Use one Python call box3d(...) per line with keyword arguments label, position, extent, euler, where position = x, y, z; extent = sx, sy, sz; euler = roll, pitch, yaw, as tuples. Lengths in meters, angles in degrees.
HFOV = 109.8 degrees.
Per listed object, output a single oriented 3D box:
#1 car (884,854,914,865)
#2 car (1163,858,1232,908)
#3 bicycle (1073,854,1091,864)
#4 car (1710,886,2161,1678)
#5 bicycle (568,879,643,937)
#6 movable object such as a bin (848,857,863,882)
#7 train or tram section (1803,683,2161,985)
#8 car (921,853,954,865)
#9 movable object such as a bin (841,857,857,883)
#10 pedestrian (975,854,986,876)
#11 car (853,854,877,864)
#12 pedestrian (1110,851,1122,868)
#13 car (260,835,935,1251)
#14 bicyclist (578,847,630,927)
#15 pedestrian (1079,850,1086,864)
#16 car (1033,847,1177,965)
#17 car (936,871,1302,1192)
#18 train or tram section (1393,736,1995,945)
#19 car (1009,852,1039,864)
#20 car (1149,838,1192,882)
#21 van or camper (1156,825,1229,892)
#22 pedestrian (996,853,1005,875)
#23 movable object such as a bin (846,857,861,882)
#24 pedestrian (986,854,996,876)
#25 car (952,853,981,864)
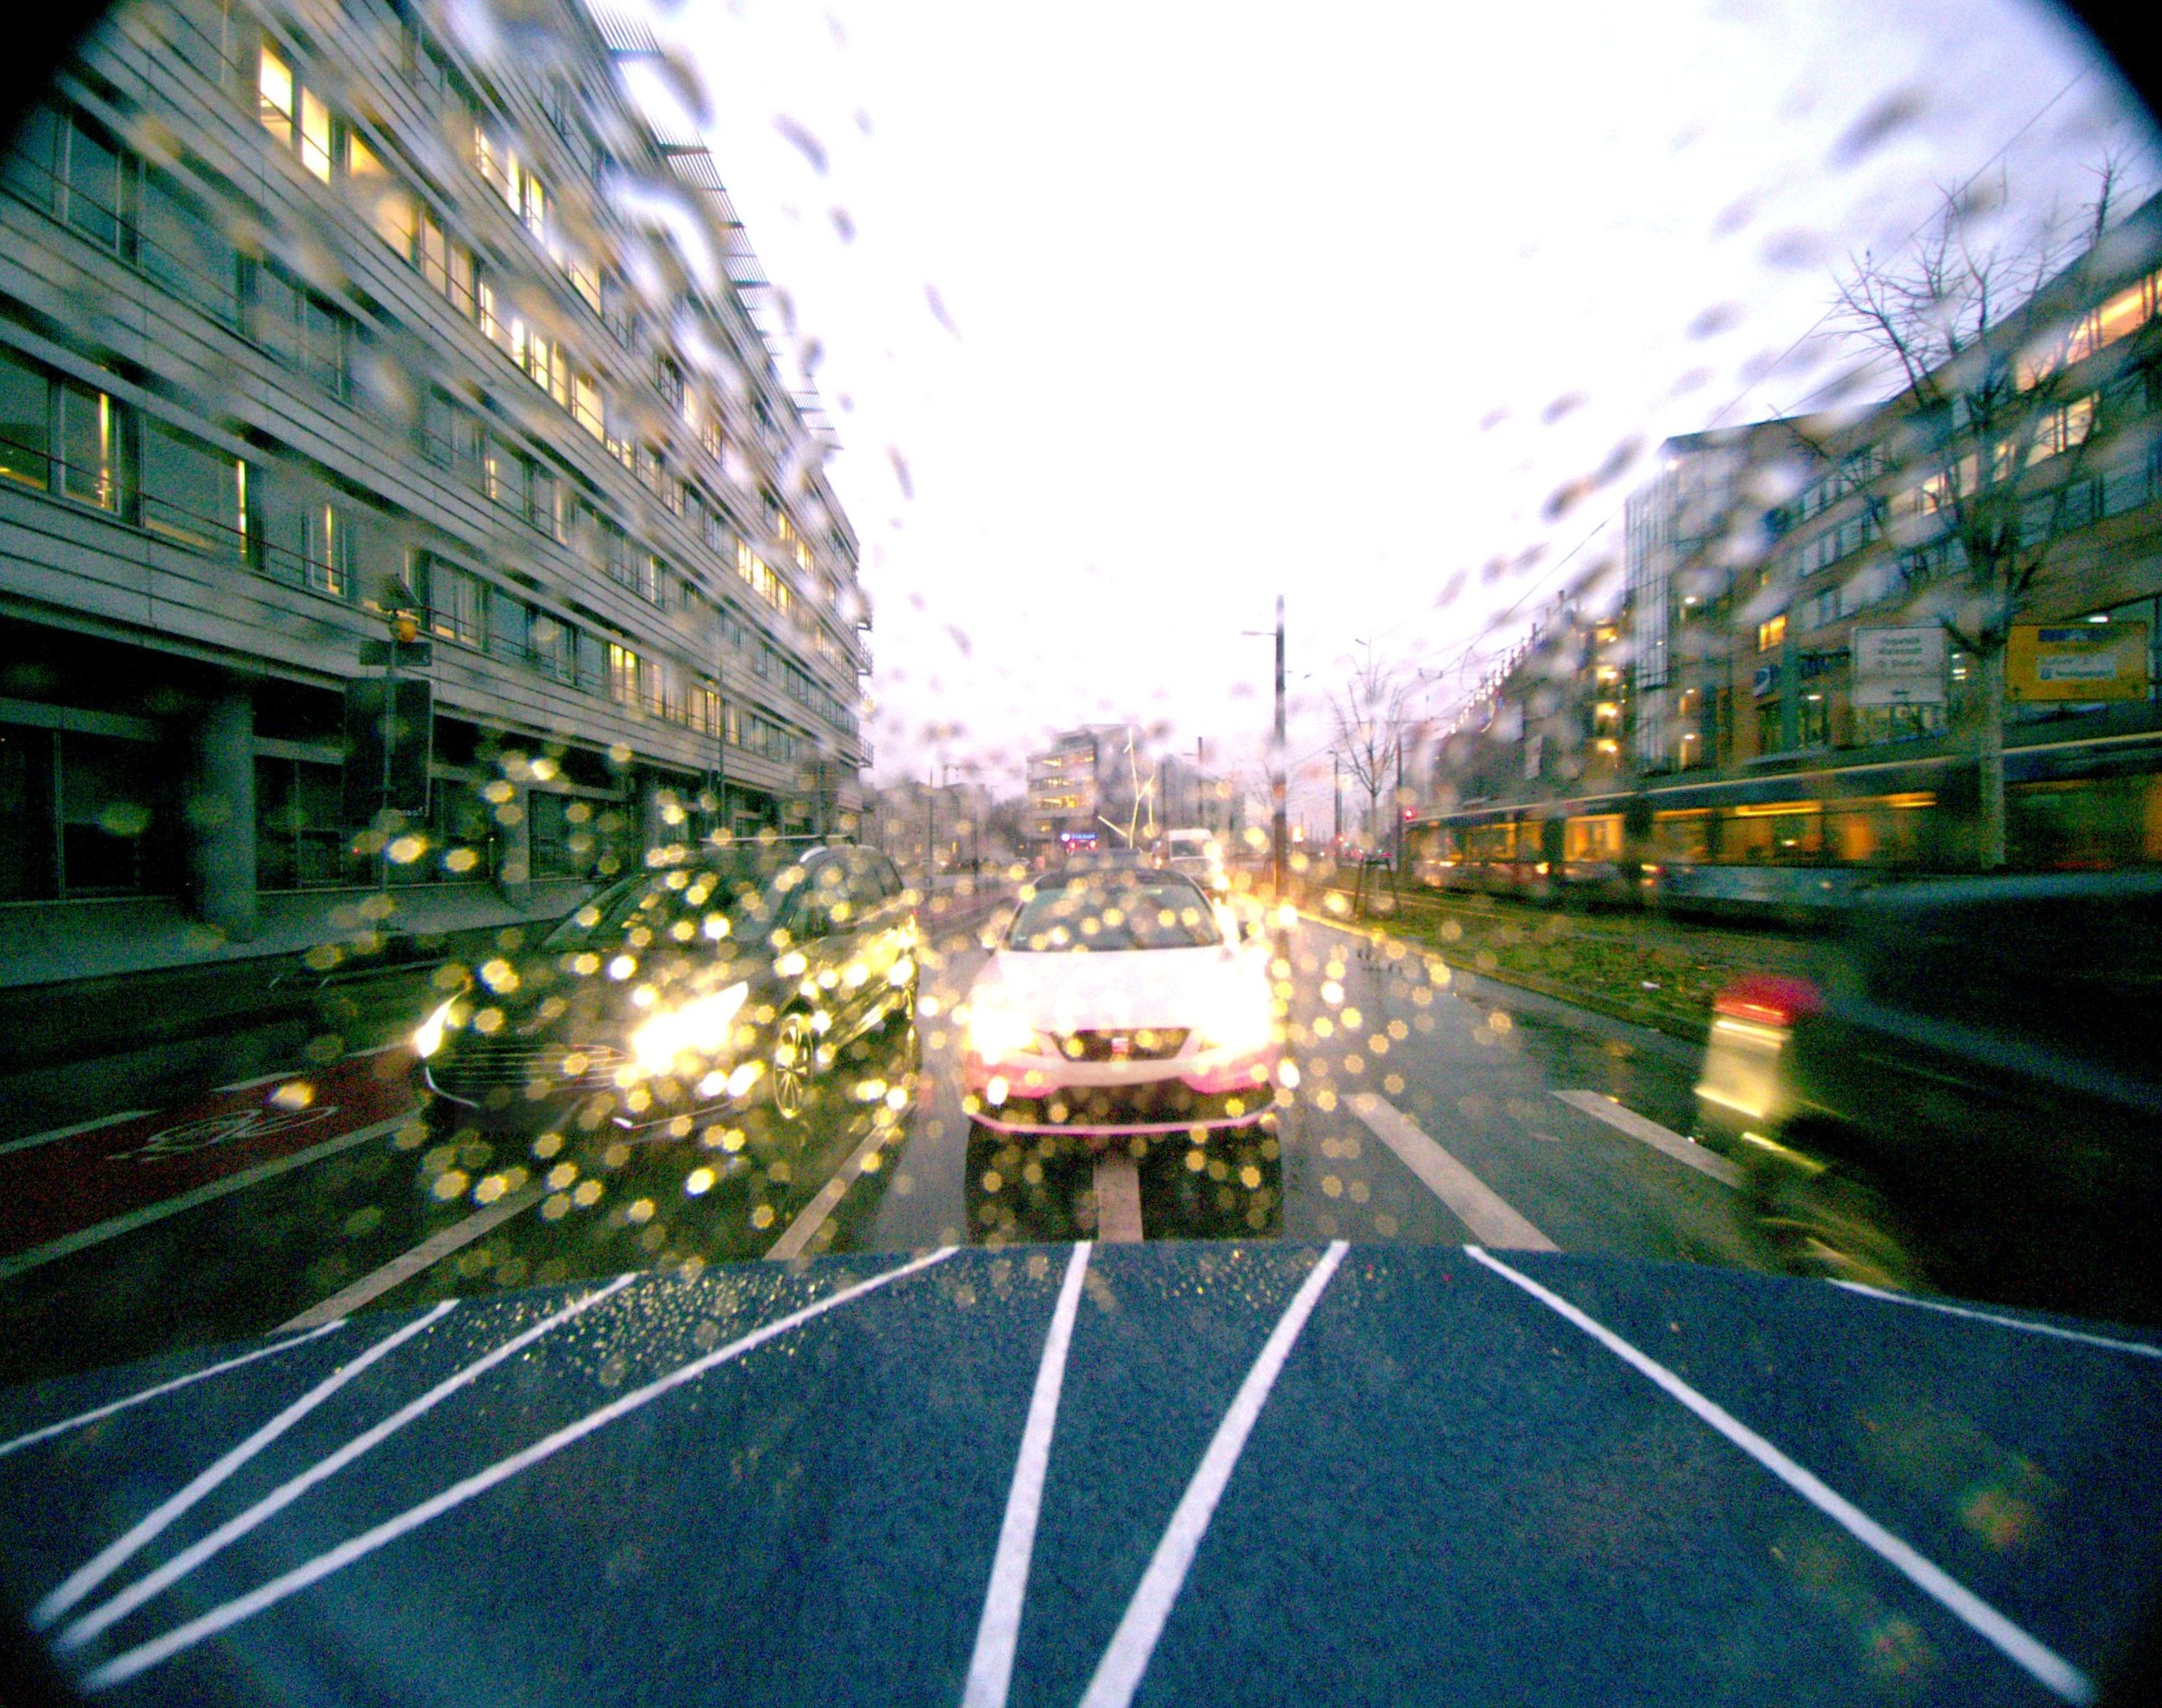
box3d(label="car", position=(-27.846, 0.832, 116.068), extent=(3.996, 1.663, 2.002), euler=(-1, 1, 17))
box3d(label="car", position=(3.644, 0.854, 24.367), extent=(1.759, 1.337, 4.056), euler=(-1, 1, 3))
box3d(label="bicycle", position=(0.119, 0.628, 95.085), extent=(2.203, 1.182, 0.668), euler=(0, 1, 7))
box3d(label="car", position=(2.922, 0.848, 0.594), extent=(1.634, 1.514, 3.942), euler=(0, -1, 1))
box3d(label="bicycle", position=(-10.871, 1.198, 17.437), extent=(0.681, 1.191, 1.760), euler=(1, 0, -3))
box3d(label="movable object such as a bin", position=(-13.416, 0.923, 45.208), extent=(0.666, 1.468, 0.840), euler=(-1, 1, -2))
box3d(label="train or tram section", position=(14.375, -0.209, 3.931), extent=(2.872, 3.593, 19.210), euler=(0, 0, -1))
box3d(label="car", position=(-21.406, 0.753, 113.710), extent=(4.368, 1.750, 2.002), euler=(-1, 1, 17))
box3d(label="movable object such as a bin", position=(-13.256, 0.905, 43.381), extent=(0.666, 1.420, 0.840), euler=(-1, 1, -2))
box3d(label="pedestrian", position=(-7.879, 0.862, 59.702), extent=(0.747, 1.692, 0.969), euler=(2, 1, -3))
box3d(label="car", position=(-38.916, 0.938, 136.866), extent=(3.725, 1.796, 1.796), euler=(-1, 0, 19))
box3d(label="pedestrian", position=(4.073, 0.657, 88.761), extent=(1.118, 2.002, 1.034), euler=(0, 1, 15))
box3d(label="car", position=(-2.609, 0.843, 5.713), extent=(1.887, 1.800, 4.671), euler=(-2, 0, 2))
box3d(label="bicyclist", position=(-10.874, 0.735, 17.336), extent=(0.671, 1.788, 0.806), euler=(0, 1, -3))
box3d(label="pedestrian", position=(0.183, 0.348, 95.083), extent=(0.892, 1.783, 0.668), euler=(0, 1, 7))
box3d(label="car", position=(0.399, 0.792, 14.166), extent=(2.169, 1.744, 4.541), euler=(-3, 1, 0))
box3d(label="car", position=(0.213, 0.922, 5.715), extent=(1.782, 1.464, 3.943), euler=(-1, 0, 1))
box3d(label="train or tram section", position=(14.671, -0.282, 23.146), extent=(2.871, 3.593, 20.072), euler=(0, 0, 2))
box3d(label="car", position=(-8.140, 0.526, 109.488), extent=(3.918, 1.699, 1.782), euler=(-1, 1, 15))
box3d(label="car", position=(6.147, 0.383, 52.815), extent=(2.129, 2.847, 5.812), euler=(-1, 0, -1))
box3d(label="van or camper", position=(4.522, 0.169, 31.870), extent=(2.153, 2.517, 5.898), euler=(-1, 0, 0))
box3d(label="pedestrian", position=(-6.255, 0.756, 59.210), extent=(0.616, 1.659, 0.884), euler=(1, 1, -3))
box3d(label="movable object such as a bin", position=(-13.252, 0.919, 44.278), extent=(0.666, 1.420, 0.840), euler=(-1, 1, -2))
box3d(label="pedestrian", position=(-6.995, 0.855, 59.047), extent=(0.651, 1.692, 0.884), euler=(1, 1, -3))
box3d(label="car", position=(-16.930, 0.710, 112.221), extent=(3.759, 1.528, 1.782), euler=(-1, 0, 17))
